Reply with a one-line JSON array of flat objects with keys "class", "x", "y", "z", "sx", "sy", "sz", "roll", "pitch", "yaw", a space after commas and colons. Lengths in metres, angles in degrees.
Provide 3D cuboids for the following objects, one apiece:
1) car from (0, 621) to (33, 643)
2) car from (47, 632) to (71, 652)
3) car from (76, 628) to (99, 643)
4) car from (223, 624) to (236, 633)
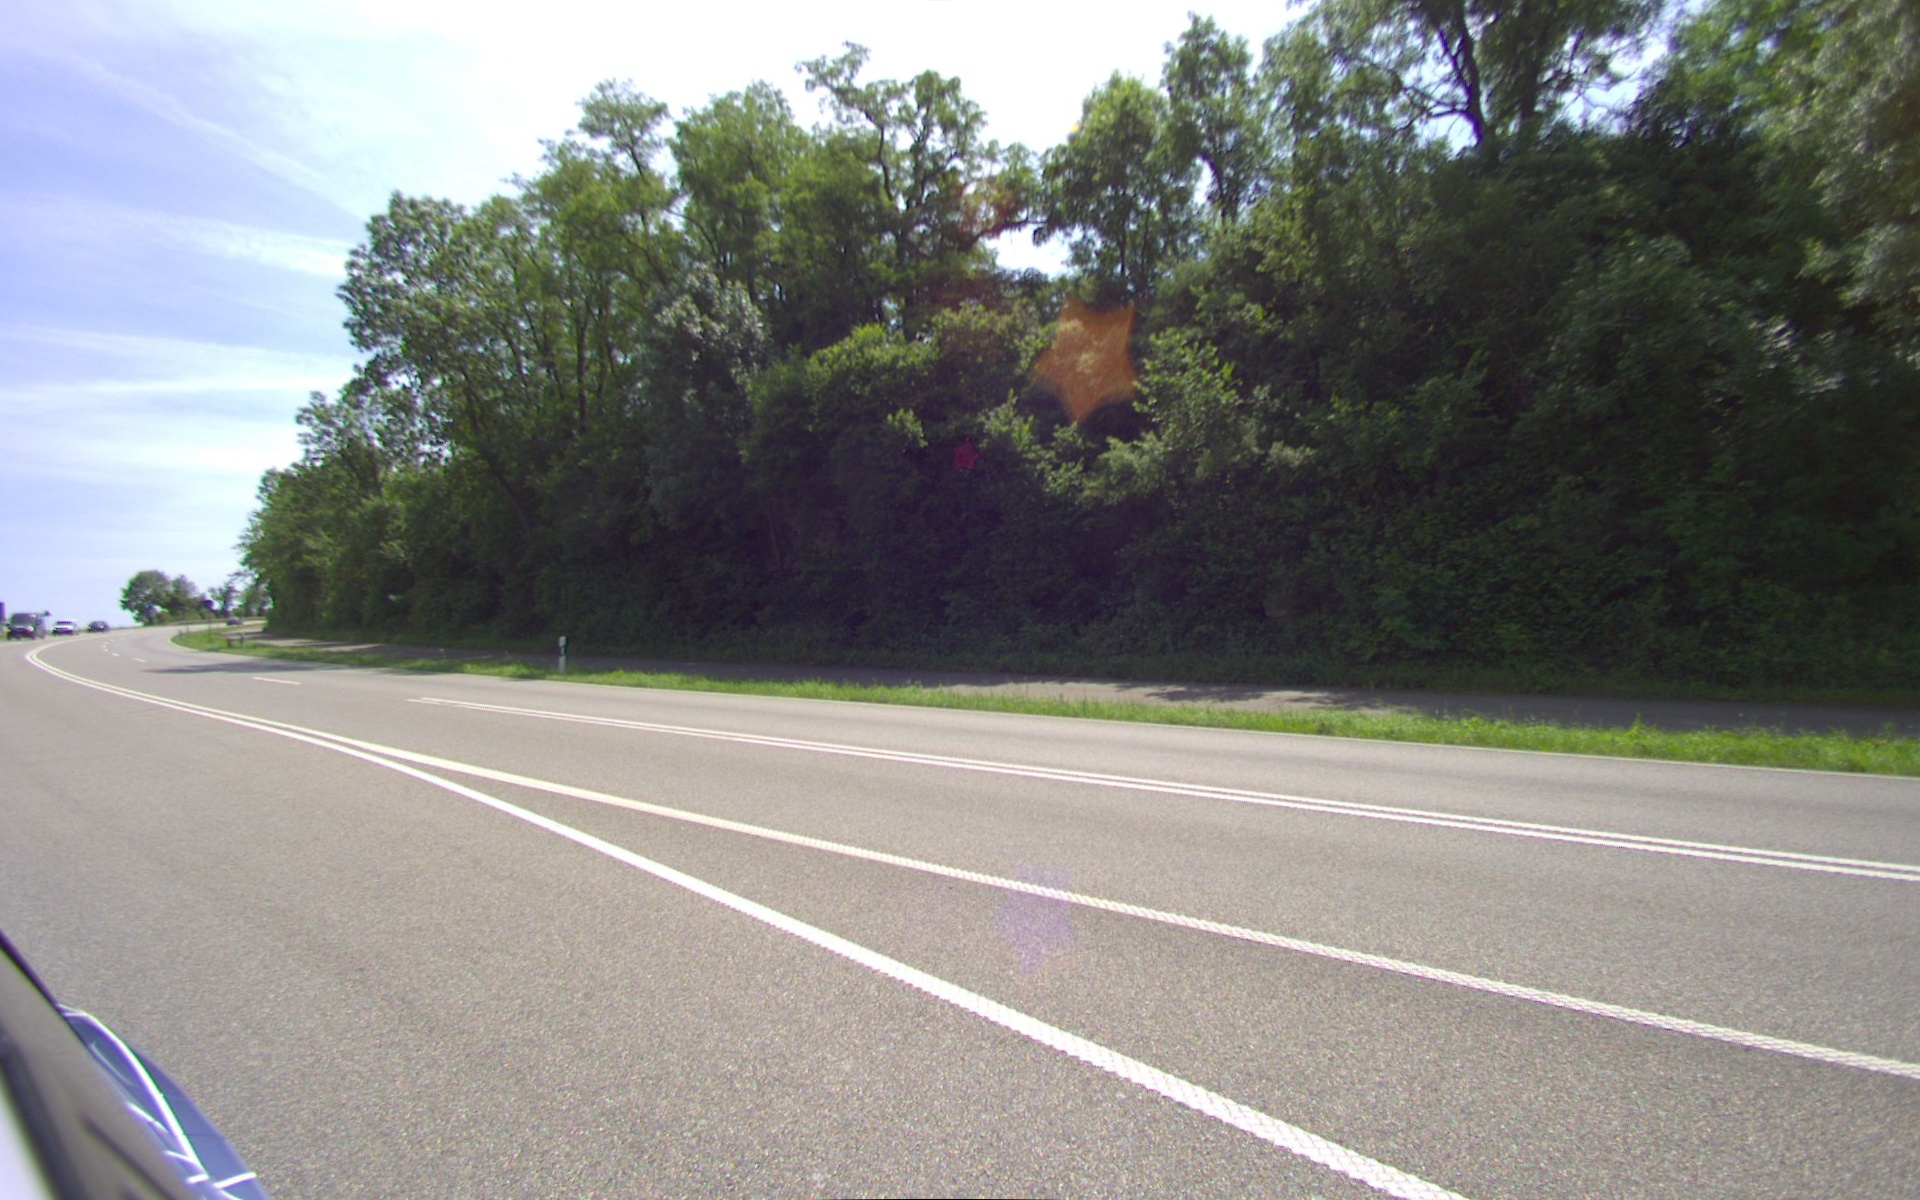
[{"class": "car", "x": -88.597, "y": 2.975, "z": 94.767, "sx": 1.966, "sy": 2.029, "sz": 4.011, "roll": -1, "pitch": -1, "yaw": -33}, {"class": "car", "x": -101.544, "y": 4.709, "z": 114.100, "sx": 1.823, "sy": 2.029, "sz": 3.880, "roll": 0, "pitch": 0, "yaw": -38}, {"class": "car", "x": -111.724, "y": 4.510, "z": 129.573, "sx": 1.738, "sy": 1.874, "sz": 3.820, "roll": 0, "pitch": 0, "yaw": -33}, {"class": "car", "x": -120.500, "y": 4.639, "z": 166.936, "sx": 1.779, "sy": 1.398, "sz": 3.879, "roll": -1, "pitch": -1, "yaw": -36}]
